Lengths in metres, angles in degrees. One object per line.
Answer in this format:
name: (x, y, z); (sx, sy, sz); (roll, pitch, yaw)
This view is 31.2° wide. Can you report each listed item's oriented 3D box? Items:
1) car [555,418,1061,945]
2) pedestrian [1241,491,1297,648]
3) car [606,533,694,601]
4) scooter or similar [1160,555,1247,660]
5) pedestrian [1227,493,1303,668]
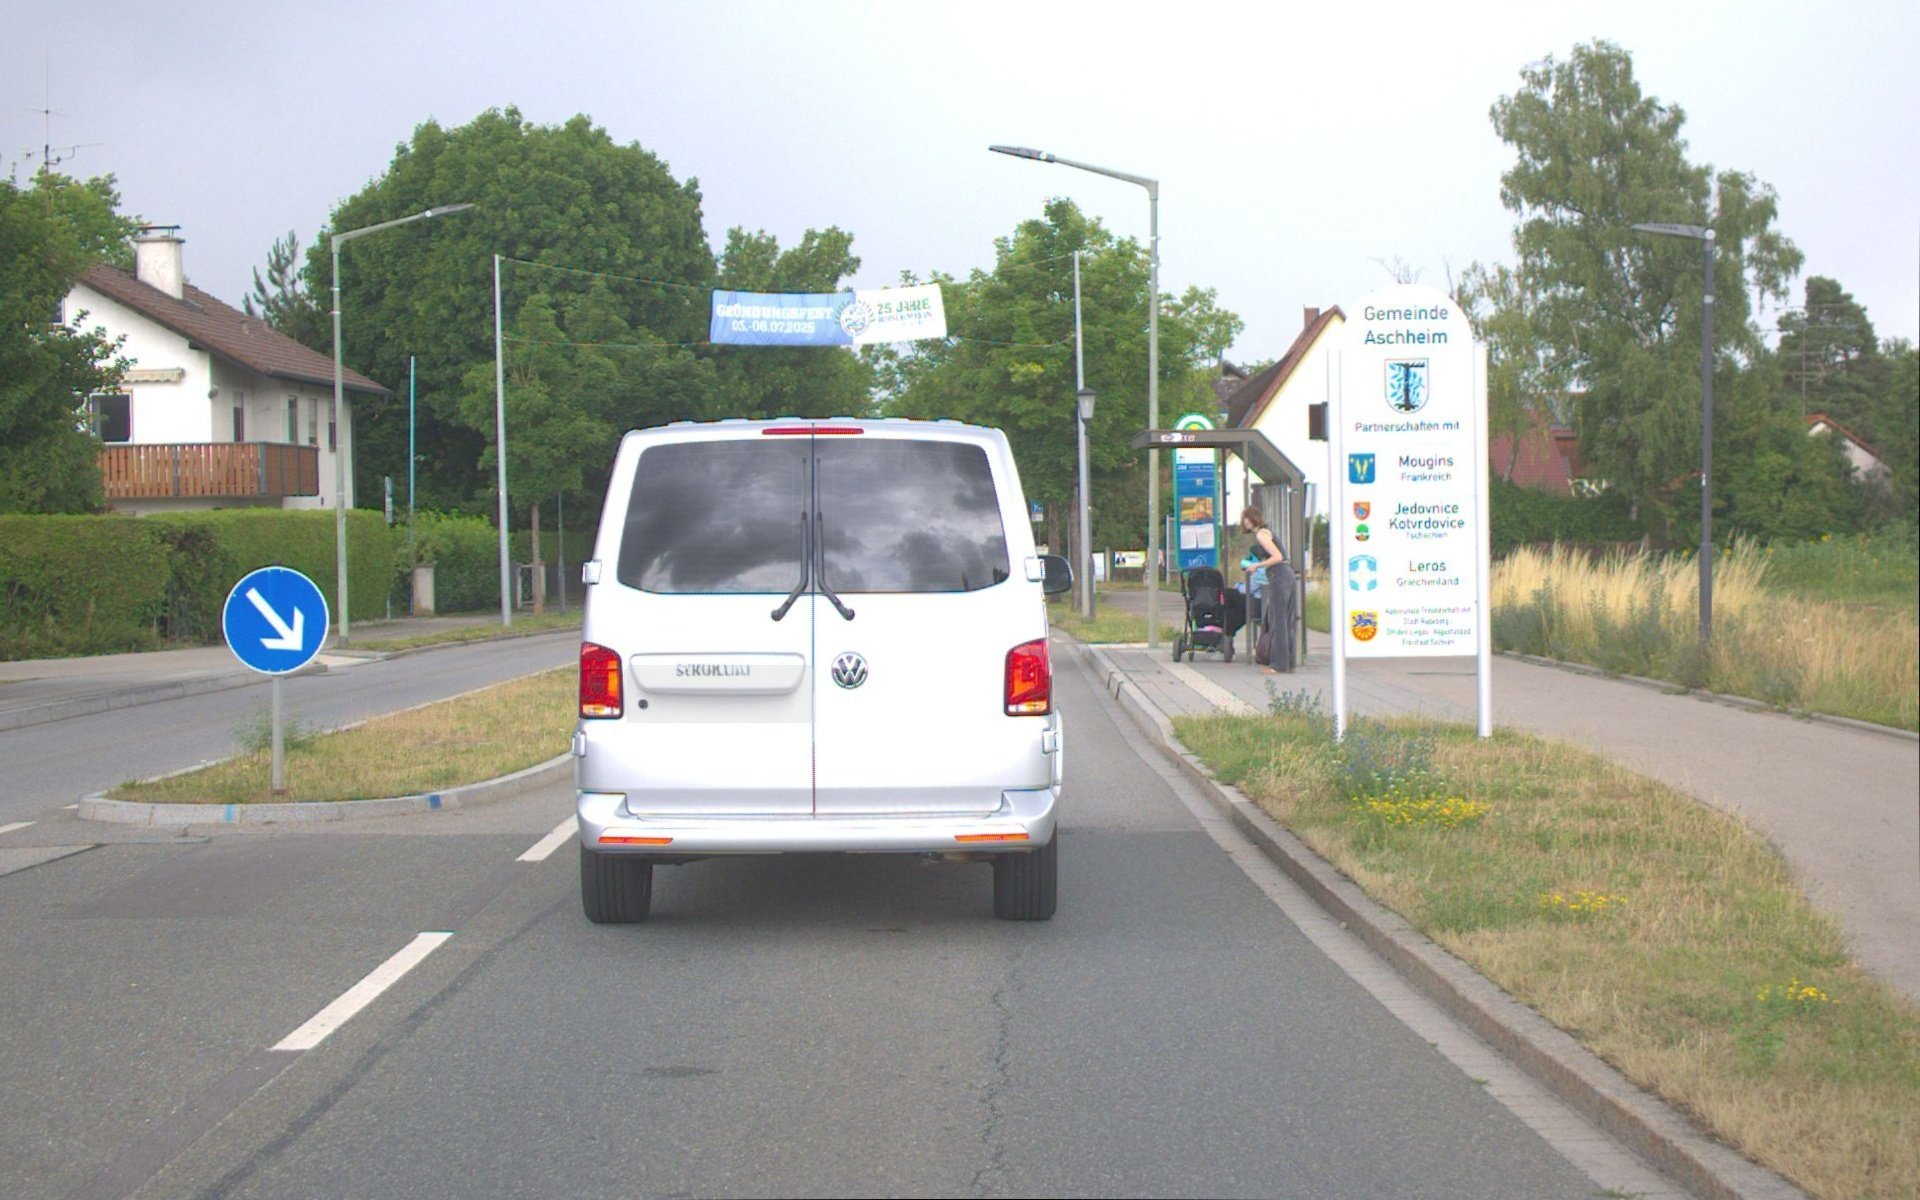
car: (-0.602, 0.244, 14.467); (1.825, 1.907, 4.001); (0, 1, -2)
pedestrian: (3.451, -0.344, 38.467); (0.485, 1.726, 0.642); (-3, 1, 0)
car: (-7.150, -0.787, 79.588); (1.653, 1.424, 3.602); (-3, 2, 0)
scooter or similar: (2.709, 0.079, 38.381); (0.848, 1.100, 1.094); (-3, 1, 0)
pedestrian: (3.088, -0.203, 34.797); (0.640, 1.726, 0.486); (-2, 1, 11)
